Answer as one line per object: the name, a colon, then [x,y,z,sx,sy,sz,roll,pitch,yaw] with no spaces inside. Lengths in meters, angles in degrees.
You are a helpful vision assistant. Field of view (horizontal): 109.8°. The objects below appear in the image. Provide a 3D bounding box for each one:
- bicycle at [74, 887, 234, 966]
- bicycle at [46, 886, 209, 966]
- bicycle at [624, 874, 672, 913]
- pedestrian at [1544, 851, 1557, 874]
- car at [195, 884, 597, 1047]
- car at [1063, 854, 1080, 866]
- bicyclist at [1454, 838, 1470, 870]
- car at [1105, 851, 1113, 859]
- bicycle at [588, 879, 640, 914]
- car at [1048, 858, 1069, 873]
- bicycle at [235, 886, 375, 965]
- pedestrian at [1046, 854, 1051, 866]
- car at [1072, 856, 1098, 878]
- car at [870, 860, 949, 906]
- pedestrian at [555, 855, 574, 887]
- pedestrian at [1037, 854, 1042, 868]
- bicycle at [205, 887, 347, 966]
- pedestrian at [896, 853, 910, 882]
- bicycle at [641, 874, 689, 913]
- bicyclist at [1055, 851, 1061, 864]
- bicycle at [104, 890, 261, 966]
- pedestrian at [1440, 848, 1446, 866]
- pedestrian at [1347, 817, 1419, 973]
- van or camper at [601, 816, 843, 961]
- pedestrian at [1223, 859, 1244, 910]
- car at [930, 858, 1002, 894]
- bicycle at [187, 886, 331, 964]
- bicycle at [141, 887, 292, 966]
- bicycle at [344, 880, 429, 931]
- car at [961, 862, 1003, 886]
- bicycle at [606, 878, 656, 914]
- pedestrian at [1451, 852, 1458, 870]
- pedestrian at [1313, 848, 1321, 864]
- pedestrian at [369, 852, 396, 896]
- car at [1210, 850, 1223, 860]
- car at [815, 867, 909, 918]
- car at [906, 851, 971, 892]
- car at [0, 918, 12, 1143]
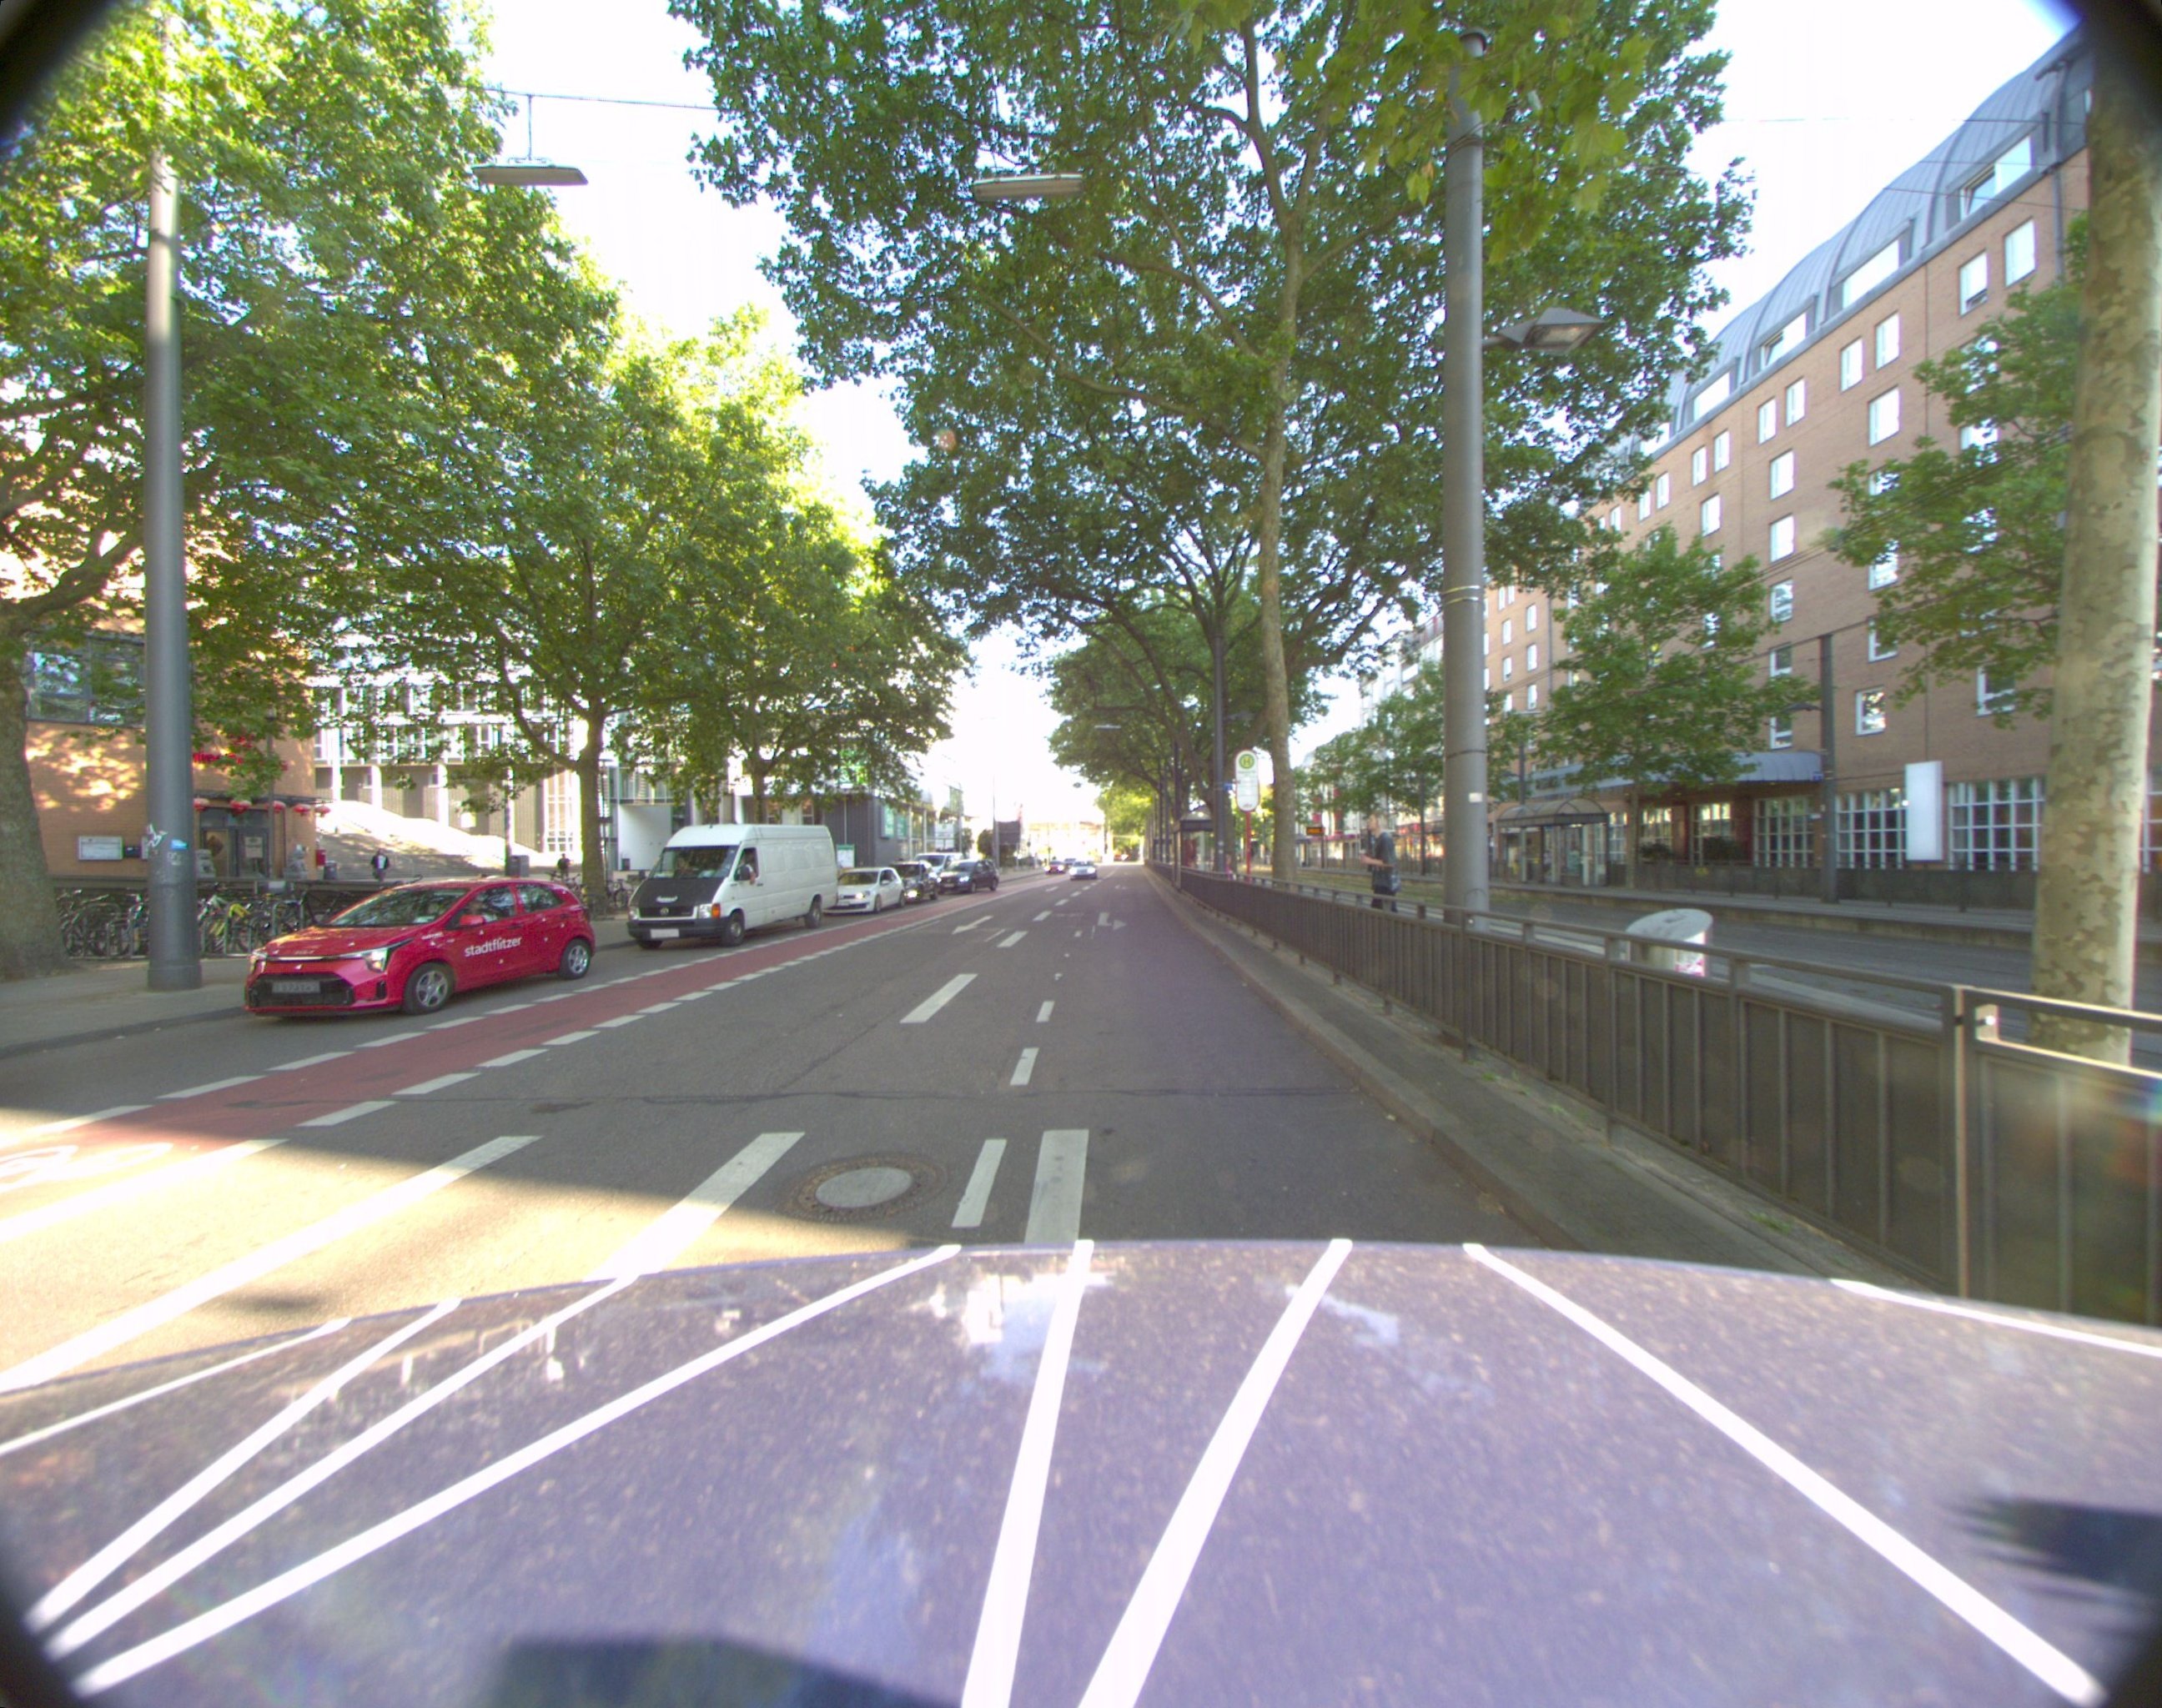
bicycle: [-15.923,1.202,13.132,0.458,1.187,1.850,0,0,1]
bicycle: [-16.386,1.197,13.135,0.435,1.187,1.850,0,0,1]
bicycle: [-14.113,1.271,24.817,0.495,1.187,1.850,0,0,1]
pedestrian: [29.730,0.547,48.148,0.519,1.427,0.516,0,1,4]
car: [-7.956,1.178,9.365,1.606,1.449,3.651,-1,0,0]
car: [-1.155,0.689,94.772,1.801,1.438,4.001,0,0,3]
bicyclist: [22.620,0.002,45.101,0.572,1.893,0.813,0,1,6]
car: [7.715,0.208,206.643,1.998,2.002,4.001,0,0,4]
bicycle: [-15.218,1.365,24.791,0.516,1.027,1.850,0,0,1]
car: [-2.227,1.104,75.959,1.801,1.369,4.001,0,0,3]
bicycle: [-13.317,1.193,13.125,0.482,1.187,1.850,0,0,1]
pedestrian: [-4.290,0.775,99.430,0.648,1.644,0.643,-1,1,1]
car: [0.337,0.918,55.286,1.733,1.432,4.000,-2,0,2]
car: [-6.666,1.083,30.027,1.818,1.610,4.229,-1,0,5]
pedestrian: [-25.798,0.852,37.958,0.719,1.549,0.639,-1,1,-35]
pedestrian: [-5.109,0.856,93.196,0.611,1.644,0.583,-1,1,1]
bicycle: [-13.819,1.204,13.131,0.448,1.187,1.850,0,0,1]
pedestrian: [-10.721,0.817,45.784,0.715,1.758,0.526,-1,1,2]
bicycle: [-13.570,1.268,24.838,0.522,1.187,1.850,0,0,1]
bicyclist: [-3.006,0.407,98.774,0.673,1.707,0.715,-1,1,1]
bicycle: [-15.424,1.235,13.130,0.485,1.118,1.850,0,0,1]
pedestrian: [29.317,0.246,61.529,0.438,1.497,0.659,0,1,23]
pedestrian: [3.753,0.482,9.469,0.623,1.873,0.606,-2,3,-6]
van or camper: [-7.540,0.623,17.060,1.998,2.563,6.575,-2,0,3]
pedestrian: [3.934,0.778,19.619,0.500,1.308,0.419,0,1,8]
car: [-5.522,1.016,37.130,1.964,1.610,4.335,-1,0,14]
bicycle: [-14.325,1.200,13.321,0.484,1.187,1.850,0,0,1]
bicycle: [-14.841,1.199,13.121,0.447,1.187,1.850,0,0,1]
bicycle: [-17.864,1.286,19.588,0.517,1.187,1.790,0,0,1]
car: [-5.971,1.177,46.150,1.801,1.369,4.001,0,0,3]
bicycle: [-14.657,1.347,24.816,0.522,1.088,1.797,0,0,1]
pedestrian: [30.054,0.559,61.166,0.438,1.511,0.659,0,1,23]
pedestrian: [30.584,0.276,98.642,0.806,2.002,0.763,-1,1,1]
pedestrian: [-32.764,0.943,35.644,0.878,2.025,0.584,-1,1,-43]
car: [27.413,0.225,154.078,1.998,2.002,4.000,-1,0,1]
car: [-7.038,1.188,24.847,1.682,1.420,4.001,-1,0,3]
car: [-7.476,0.862,40.485,1.965,1.983,4.960,-1,0,7]
car: [-7.999,1.175,2.918,1.743,1.476,4.251,-1,0,0]
